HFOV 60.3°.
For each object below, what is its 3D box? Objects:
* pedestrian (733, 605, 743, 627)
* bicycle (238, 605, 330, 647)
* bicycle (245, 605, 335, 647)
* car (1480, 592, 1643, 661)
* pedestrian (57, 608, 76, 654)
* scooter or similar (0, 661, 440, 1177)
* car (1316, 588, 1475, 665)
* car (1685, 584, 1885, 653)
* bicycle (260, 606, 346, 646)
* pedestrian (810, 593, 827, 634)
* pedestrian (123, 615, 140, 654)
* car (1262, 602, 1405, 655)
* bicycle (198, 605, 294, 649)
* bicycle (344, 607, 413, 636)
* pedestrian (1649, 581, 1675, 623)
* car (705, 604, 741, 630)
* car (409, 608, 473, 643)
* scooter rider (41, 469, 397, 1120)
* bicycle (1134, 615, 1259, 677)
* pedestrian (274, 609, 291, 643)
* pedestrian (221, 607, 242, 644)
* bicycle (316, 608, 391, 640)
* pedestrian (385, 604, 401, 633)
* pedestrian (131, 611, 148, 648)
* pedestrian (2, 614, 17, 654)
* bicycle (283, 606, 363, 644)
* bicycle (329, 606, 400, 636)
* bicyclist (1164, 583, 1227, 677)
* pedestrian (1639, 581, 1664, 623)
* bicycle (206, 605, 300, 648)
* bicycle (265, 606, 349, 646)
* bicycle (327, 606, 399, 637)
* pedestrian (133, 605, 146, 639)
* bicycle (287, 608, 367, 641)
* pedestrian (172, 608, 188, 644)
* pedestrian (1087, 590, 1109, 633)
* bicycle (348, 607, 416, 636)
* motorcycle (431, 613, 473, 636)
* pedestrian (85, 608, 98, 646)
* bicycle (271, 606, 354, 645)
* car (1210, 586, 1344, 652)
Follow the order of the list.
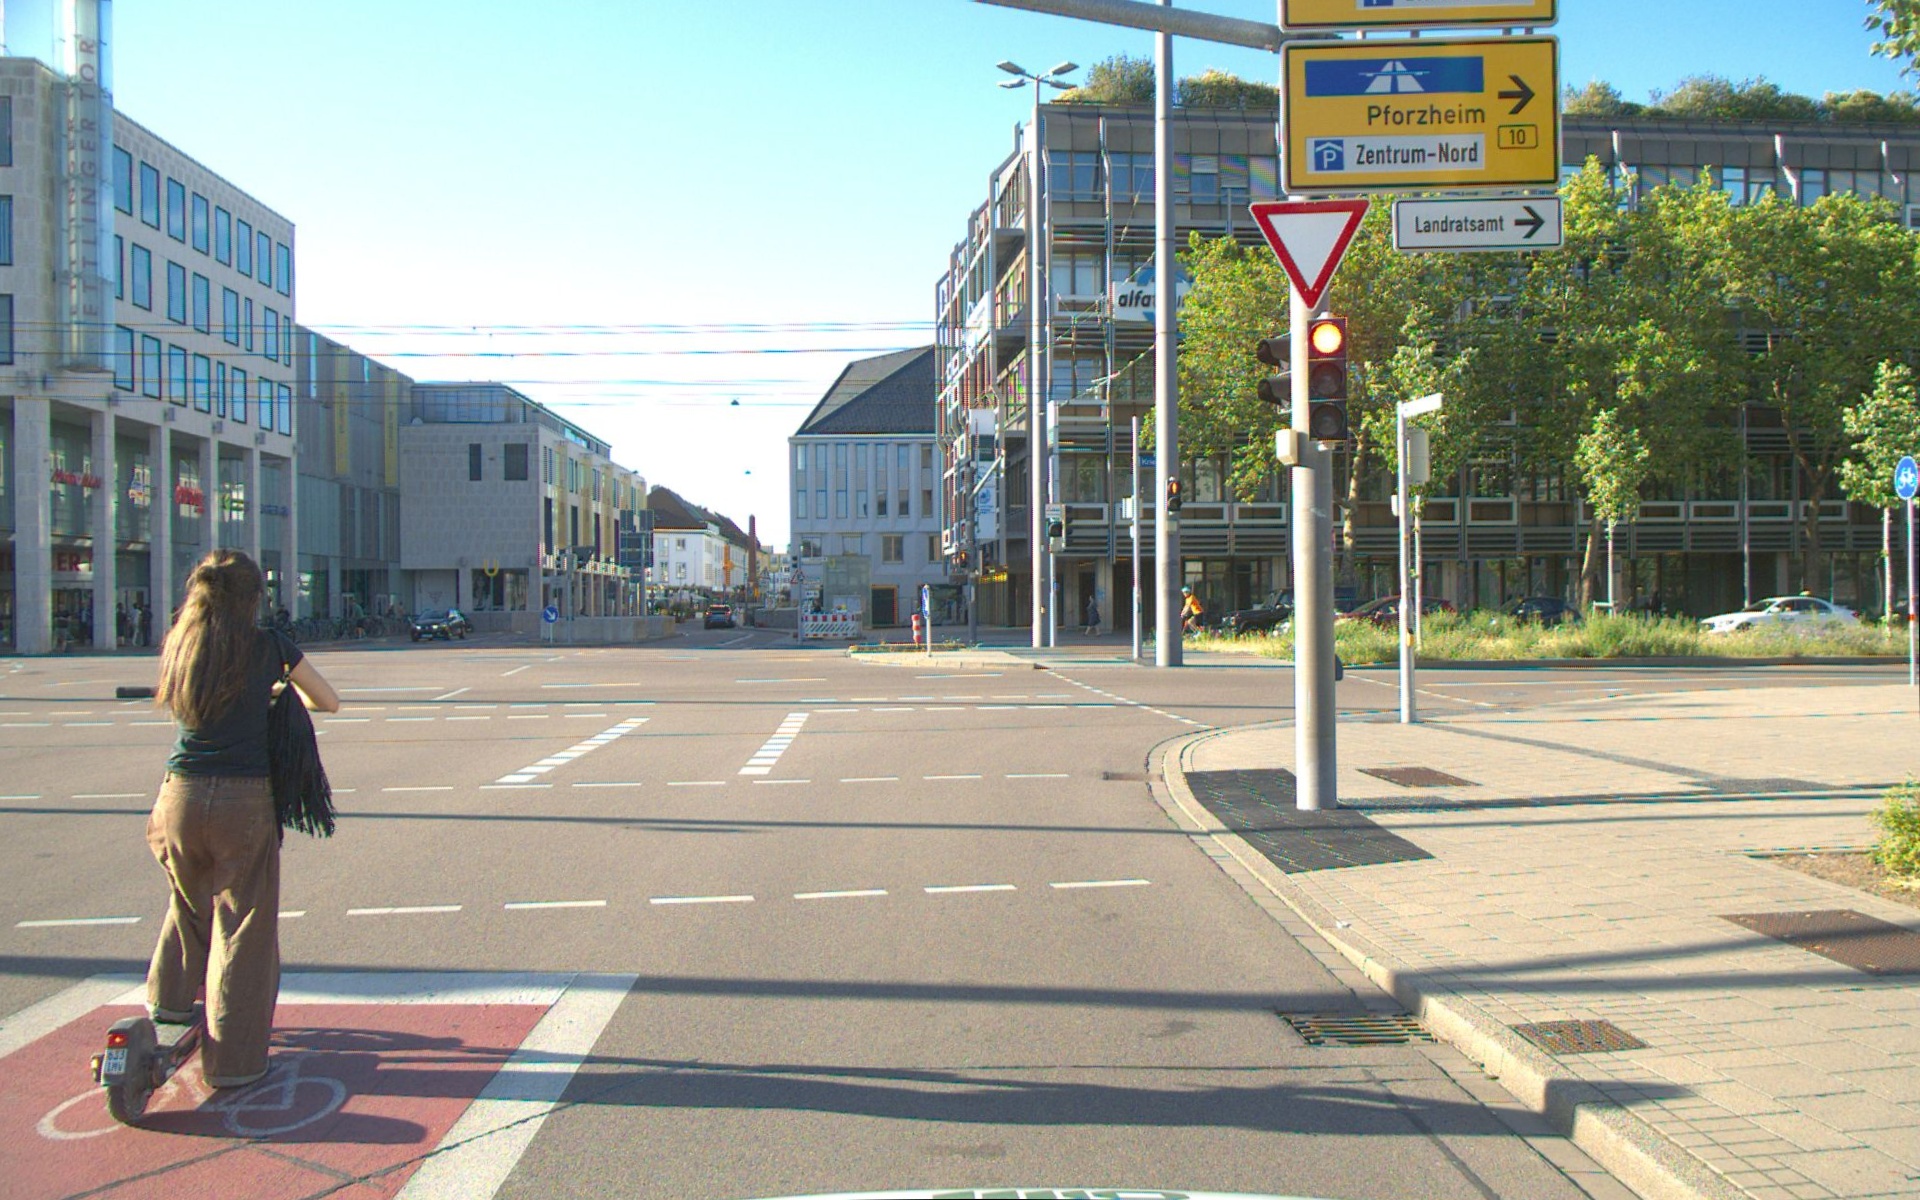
[{"bbox_3d":[-14.308,1.016,106.648,0.598,1.436,0.569,-1,0,-7],"label":"pedestrian"},{"bbox_3d":[-28.870,1.086,70.710,3.427,1.726,1.114,-1,0,-10],"label":"bicycle"},{"bbox_3d":[-29.101,1.122,71.922,3.427,1.726,1.114,-1,0,-10],"label":"bicycle"},{"bbox_3d":[18.824,0.826,51.874,4.359,2.049,1.998,1,0,-6],"label":"car"},{"bbox_3d":[-32.302,1.113,59.786,0.535,1.671,0.544,-1,0,-33],"label":"pedestrian"},{"bbox_3d":[-2.174,0.828,4.969,0.713,1.223,1.664,0,0,-1],"label":"scooter or similar"},{"bbox_3d":[12.228,0.737,46.573,3.908,2.049,1.999,1,0,-3],"label":"car"},{"bbox_3d":[26.169,0.584,52.570,5.332,2.049,2.096,1,0,-3],"label":"car"},{"bbox_3d":[-29.576,1.167,74.491,3.430,1.726,0.984,-1,0,-12],"label":"bicycle"},{"bbox_3d":[-5.855,0.563,68.553,0.650,1.687,0.755,-1,0,-4],"label":"pedestrian"},{"bbox_3d":[-34.862,1.461,69.580,0.472,1.613,0.513,-1,0,-5],"label":"pedestrian"},{"bbox_3d":[11.436,0.868,50.811,3.908,1.534,1.867,1,0,-4],"label":"car"},{"bbox_3d":[-29.325,1.112,68.030,3.427,1.726,1.114,-1,0,-10],"label":"bicycle"},{"bbox_3d":[-31.785,1.166,90.397,3.430,1.554,0.984,-1,0,-12],"label":"bicycle"},{"bbox_3d":[28.046,0.077,66.112,0.651,1.687,0.740,-1,0,-8],"label":"pedestrian"},{"bbox_3d":[-15.497,1.098,108.159,2.157,1.635,4.320,-1,0,-6],"label":"car"},{"bbox_3d":[-23.914,1.142,76.364,1.954,1.512,3.996,-1,0,-4],"label":"car"},{"bbox_3d":[-2.197,0.539,5.004,0.713,1.806,0.811,0,0,-1],"label":"scooter rider"},{"bbox_3d":[6.744,1.305,47.218,3.427,1.688,0.929,-1,0,-10],"label":"bicycle"},{"bbox_3d":[-33.276,1.278,81.218,0.641,1.671,0.693,-1,0,-9],"label":"pedestrian"},{"bbox_3d":[-33.375,1.150,75.780,0.771,1.671,0.692,-1,0,-16],"label":"pedestrian"},{"bbox_3d":[-30.886,1.211,84.263,3.430,1.554,0.984,-1,0,-12],"label":"bicycle"},{"bbox_3d":[-33.380,1.093,97.305,0.692,1.671,0.685,-1,0,-38],"label":"pedestrian"},{"bbox_3d":[-34.818,1.258,70.208,0.472,1.537,0.513,-1,0,-5],"label":"pedestrian"},{"bbox_3d":[-34.787,1.246,60.525,0.384,1.437,0.431,0,0,-42],"label":"pedestrian"},{"bbox_3d":[-30.339,1.186,78.864,3.430,1.726,0.984,-1,0,-12],"label":"bicycle"},{"bbox_3d":[-31.391,1.107,87.241,3.430,1.554,0.984,-1,0,-12],"label":"bicycle"},{"bbox_3d":[6.714,0.835,47.218,1.539,2.625,0.930,-1,0,-10],"label":"bicyclist"},{"bbox_3d":[28.025,0.080,67.006,0.651,1.687,0.740,-1,0,-8],"label":"pedestrian"},{"bbox_3d":[-29.553,1.083,69.198,3.427,1.726,1.114,-1,0,-10],"label":"bicycle"},{"bbox_3d":[-29.800,1.176,75.579,3.430,1.726,0.984,-1,0,-12],"label":"bicycle"},{"bbox_3d":[-31.074,1.119,86.124,3.430,1.554,0.984,-1,0,-12],"label":"bicycle"},{"bbox_3d":[-35.847,0.974,72.243,0.379,1.464,0.367,-1,0,-5],"label":"pedestrian"},{"bbox_3d":[-30.544,1.170,79.853,3.430,1.554,0.984,-1,0,-12],"label":"bicycle"},{"bbox_3d":[-36.186,1.200,76.717,0.472,1.613,0.598,-1,0,-5],"label":"pedestrian"},{"bbox_3d":[5.496,0.465,65.936,0.715,1.687,0.649,-1,0,-8],"label":"pedestrian"},{"bbox_3d":[-31.949,1.197,91.422,3.430,1.554,0.984,-1,0,-12],"label":"bicycle"},{"bbox_3d":[-29.956,1.435,97.591,2.230,1.341,0.719,-1,0,-6],"label":"motorcycle"},{"bbox_3d":[-37.472,1.168,71.335,0.379,1.613,0.367,-1,0,-5],"label":"pedestrian"},{"bbox_3d":[-30.041,1.177,76.778,3.430,1.726,0.984,-1,0,-12],"label":"bicycle"},{"bbox_3d":[10.301,0.602,53.914,3.908,2.049,1.999,1,0,-3],"label":"car"}]
